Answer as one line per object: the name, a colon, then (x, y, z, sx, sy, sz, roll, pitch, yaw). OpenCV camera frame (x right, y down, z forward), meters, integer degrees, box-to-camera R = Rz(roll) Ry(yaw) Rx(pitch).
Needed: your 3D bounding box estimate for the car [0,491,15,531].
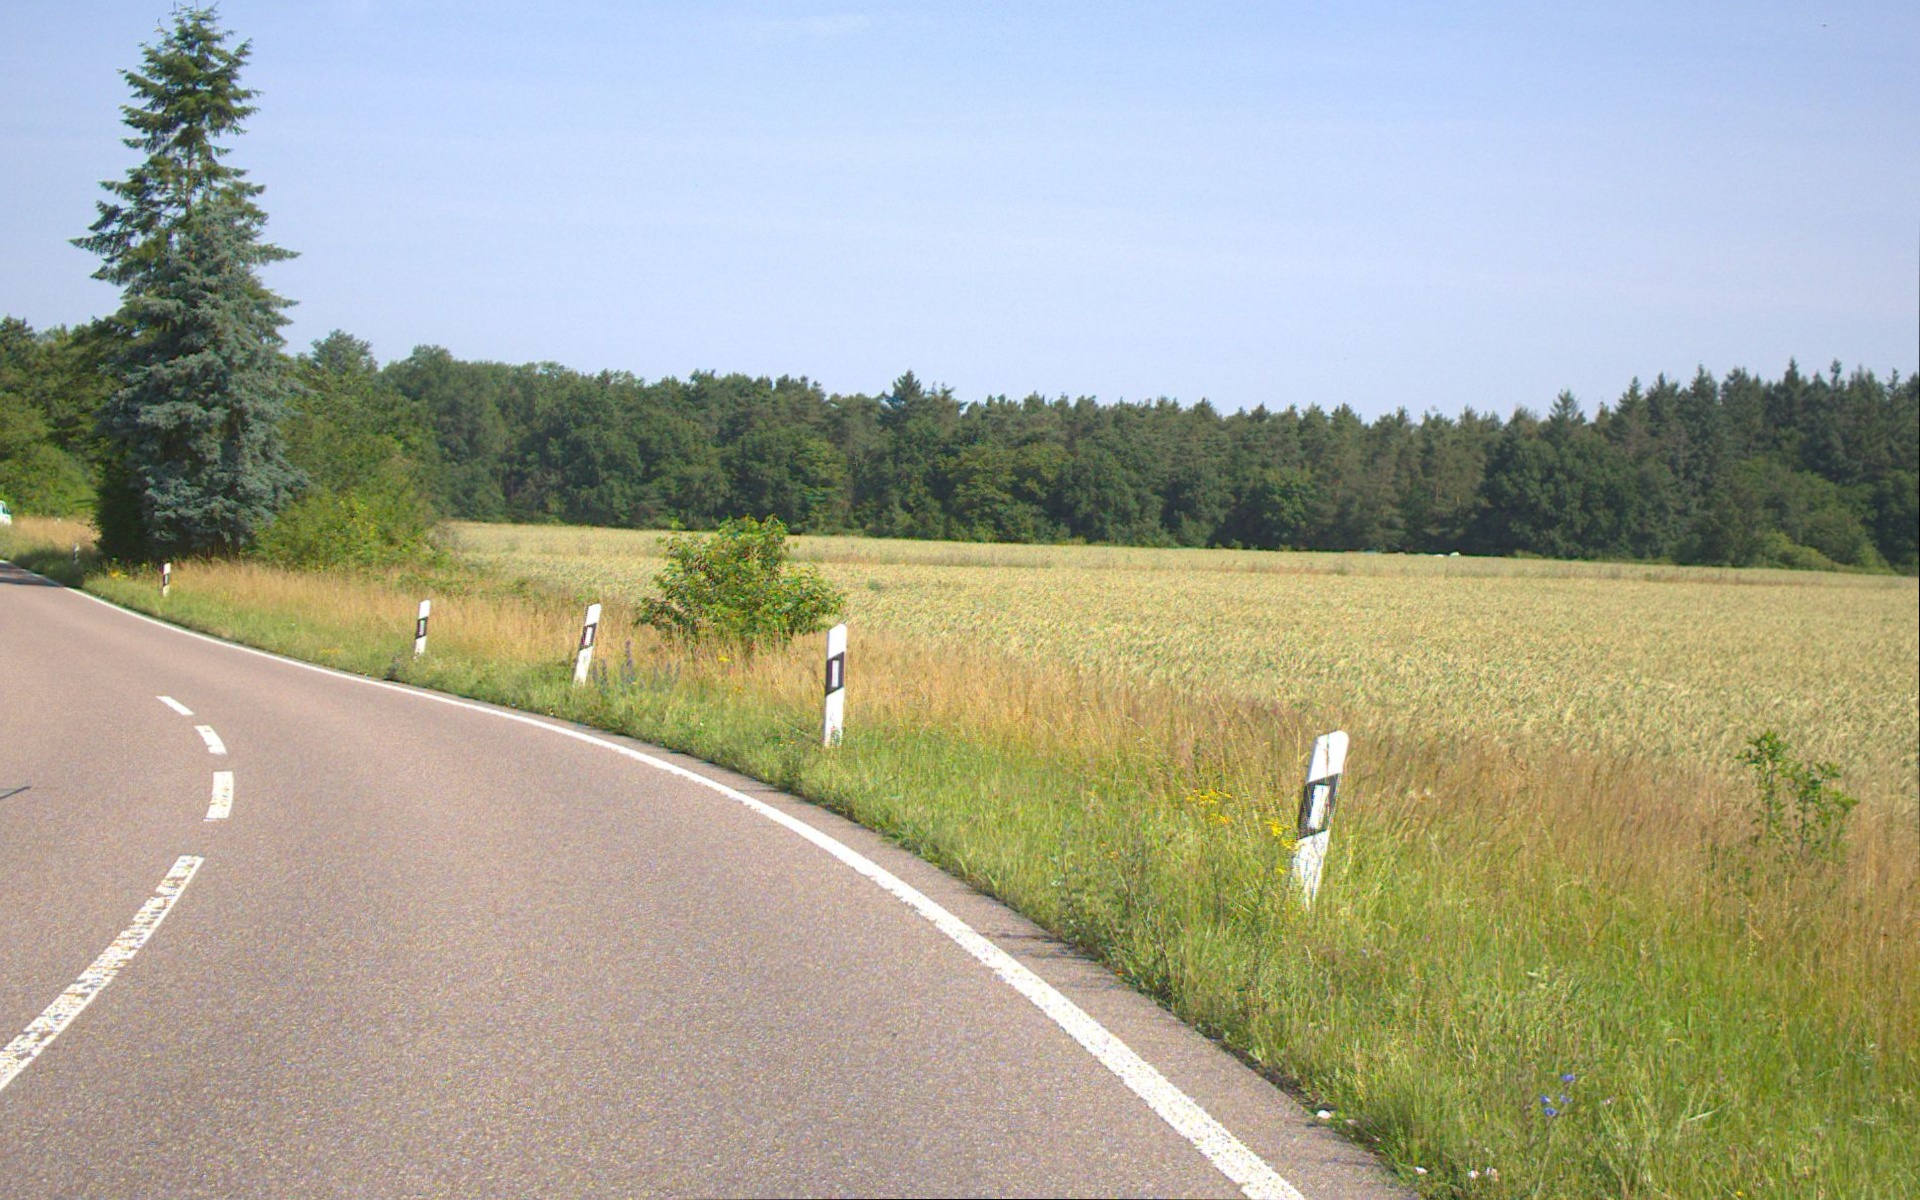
car: (-47.799, -4.442, 169.182, 1.961, 1.796, 4.162, 4, 2, -10)
